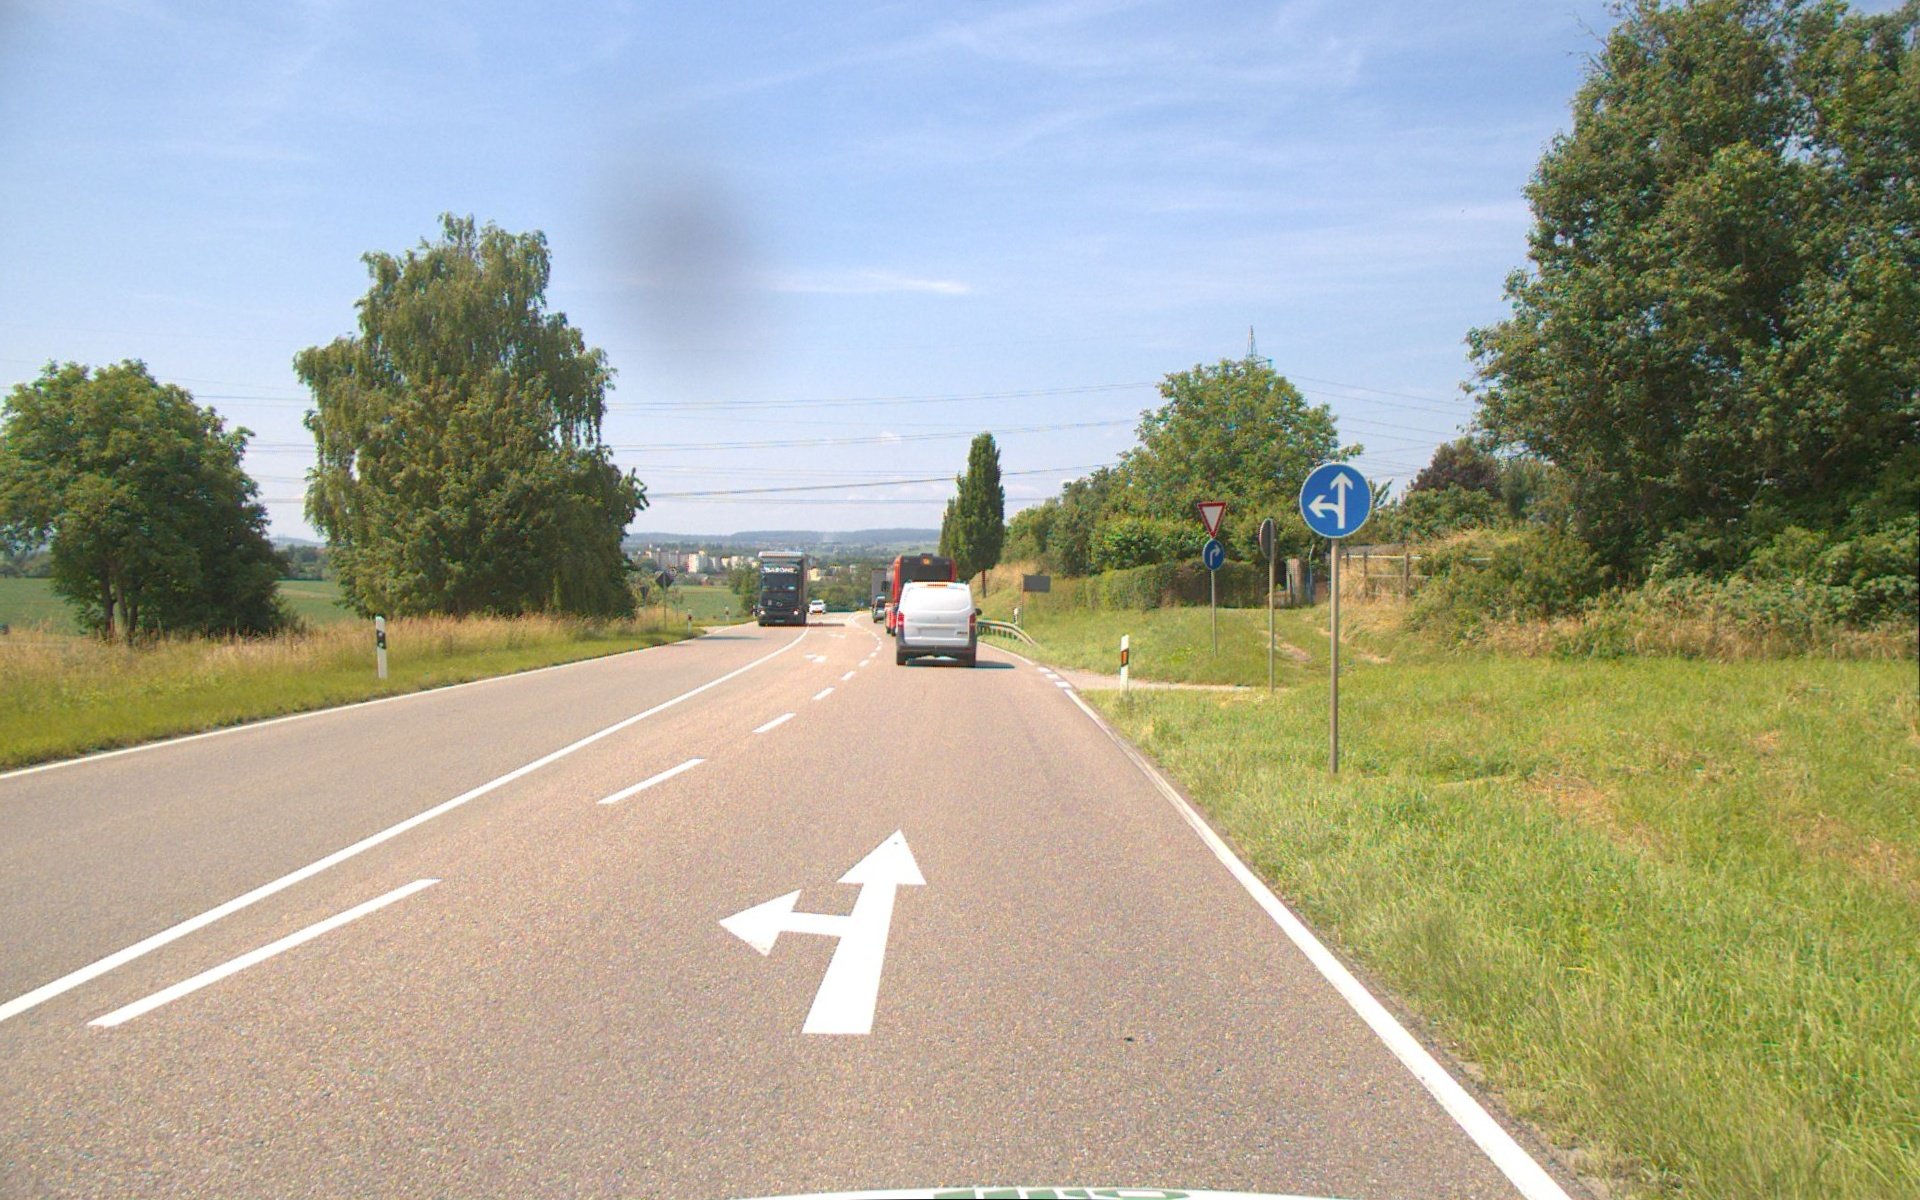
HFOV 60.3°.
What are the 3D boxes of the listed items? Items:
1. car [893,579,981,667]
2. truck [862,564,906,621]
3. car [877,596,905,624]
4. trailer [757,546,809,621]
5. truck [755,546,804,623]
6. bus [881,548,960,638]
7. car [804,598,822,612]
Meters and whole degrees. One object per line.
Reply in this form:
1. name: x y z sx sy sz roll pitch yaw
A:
1. car: -0.487 0.485 38.963 1.883 1.922 4.001 -1 1 1
2. truck: -6.369 -0.642 139.076 3.418 4.500 14.895 -1 0 -2
3. car: -4.685 0.661 112.092 1.847 1.848 3.763 0 0 -2
4. trailer: -10.584 -0.924 99.870 2.541 4.215 13.730 0 0 -4
5. truck: -10.125 -0.864 93.036 2.534 4.176 5.437 0 0 -4
6. bus: -1.851 -0.491 71.718 2.693 3.411 13.213 -2 2 -4
7. car: -17.238 0.589 194.243 1.817 1.593 4.072 -1 0 -3
